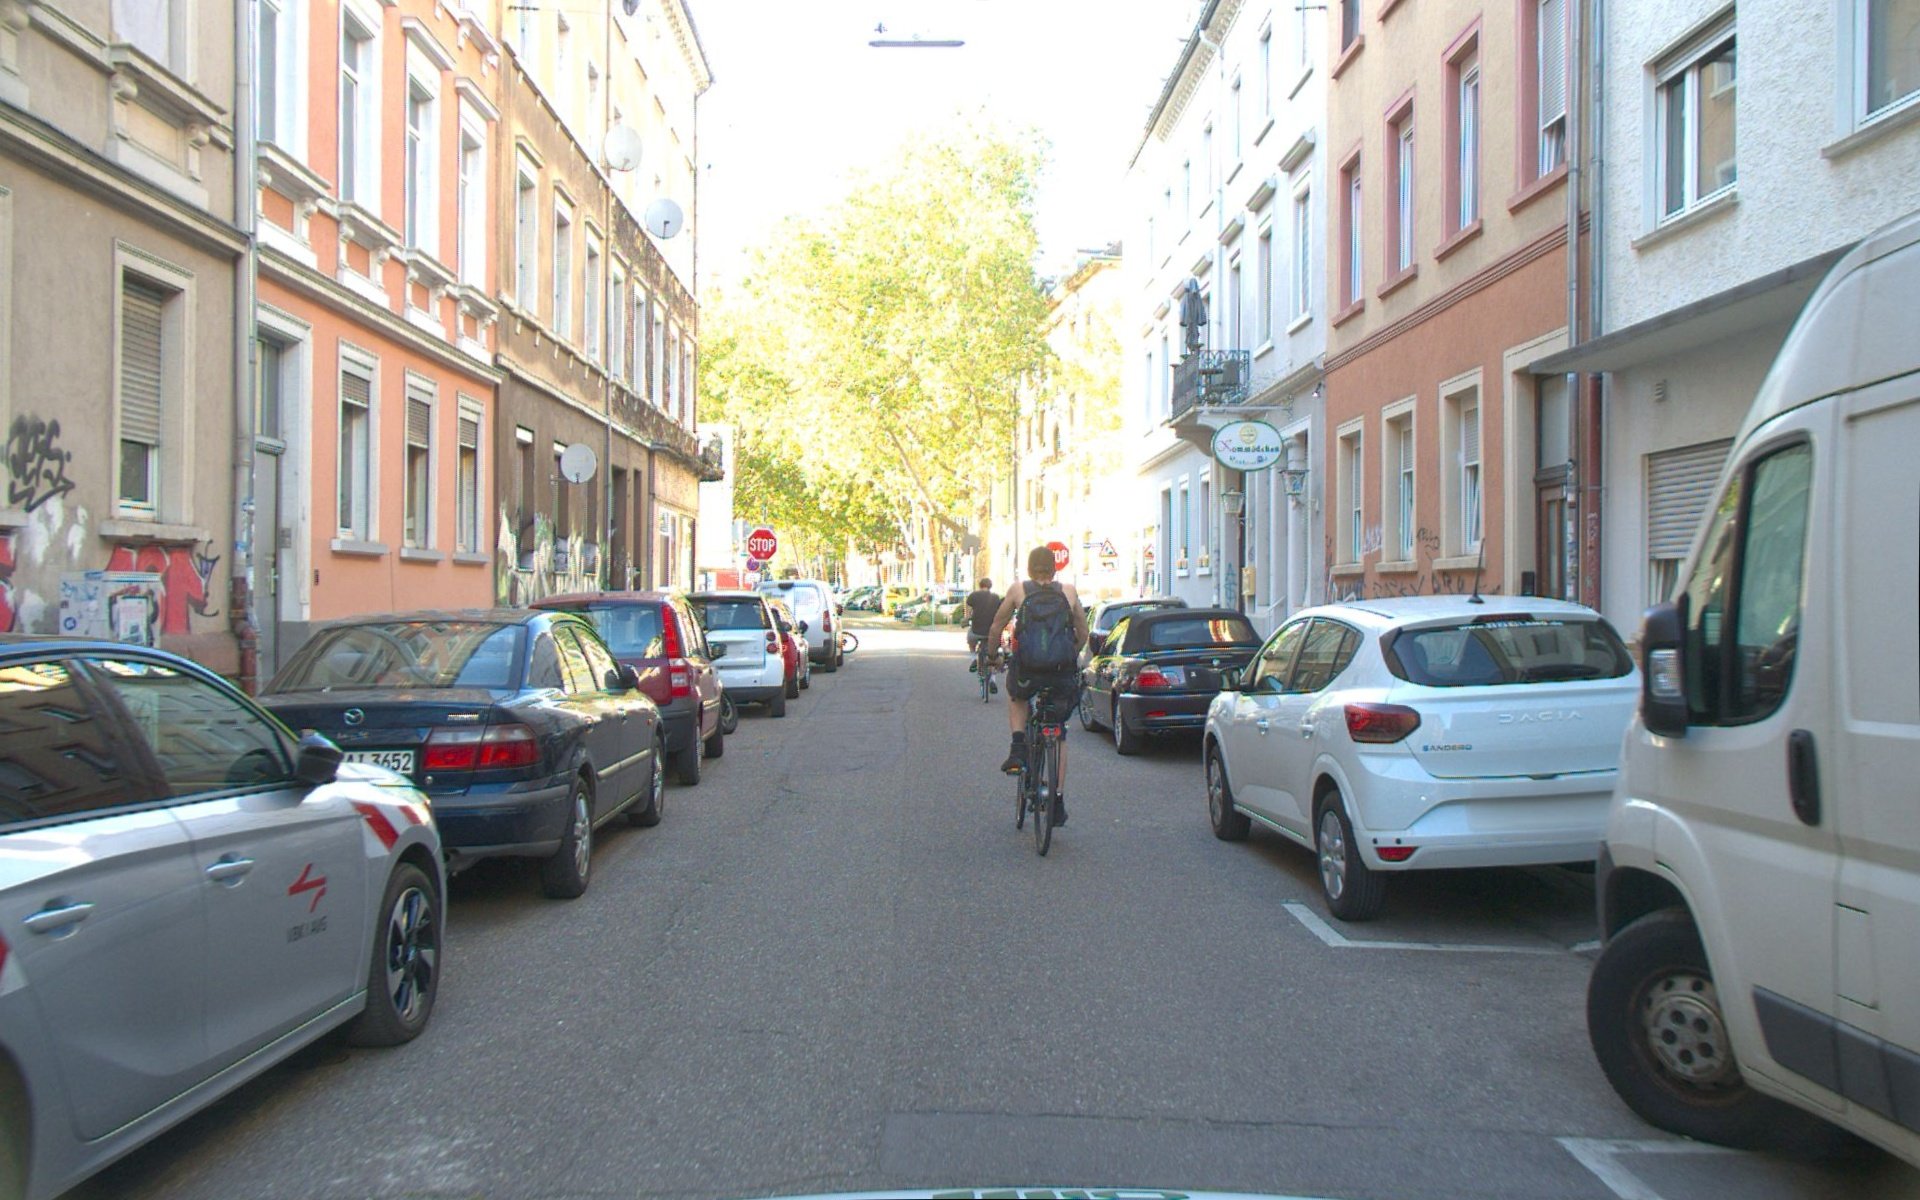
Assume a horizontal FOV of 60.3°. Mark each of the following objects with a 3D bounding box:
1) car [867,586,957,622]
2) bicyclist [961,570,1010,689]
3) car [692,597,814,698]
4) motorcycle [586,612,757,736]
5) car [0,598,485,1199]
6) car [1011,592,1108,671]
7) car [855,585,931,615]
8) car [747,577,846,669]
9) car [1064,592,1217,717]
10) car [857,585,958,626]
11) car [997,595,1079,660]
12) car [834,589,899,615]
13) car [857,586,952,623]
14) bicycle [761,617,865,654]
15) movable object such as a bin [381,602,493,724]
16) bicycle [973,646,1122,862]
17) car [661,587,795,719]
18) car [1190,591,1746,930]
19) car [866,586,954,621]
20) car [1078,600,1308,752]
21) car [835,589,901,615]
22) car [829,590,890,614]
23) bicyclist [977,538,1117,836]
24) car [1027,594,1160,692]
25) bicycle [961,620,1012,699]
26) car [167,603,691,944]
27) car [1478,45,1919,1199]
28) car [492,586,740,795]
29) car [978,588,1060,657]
[{"bbox_3d":[-2.435,0.198,82.854,4.383,1.725,1.864,0,0,-6],"label":"car"},{"bbox_3d":[0.362,0.414,23.866,0.656,1.687,0.877,0,0,-2],"label":"bicyclist"},{"bbox_3d":[-3.112,0.675,25.460,1.521,1.424,3.666,0,0,-2],"label":"car"},{"bbox_3d":[-3.138,0.778,17.942,1.766,1.278,0.707,-1,0,-16],"label":"motorcycle"},{"bbox_3d":[-2.642,0.739,4.311,1.639,1.455,3.888,0,0,1],"label":"car"},{"bbox_3d":[2.044,0.613,34.792,1.619,1.557,3.572,0,0,-3],"label":"car"},{"bbox_3d":[-3.976,-0.025,98.196,4.383,1.725,1.864,0,0,-6],"label":"car"},{"bbox_3d":[-3.291,0.427,33.894,1.752,1.767,3.874,0,0,-2],"label":"car"},{"bbox_3d":[2.335,0.663,22.233,1.560,1.518,3.875,0,0,-1],"label":"car"},{"bbox_3d":[-2.341,0.232,73.308,4.383,1.790,1.864,0,0,-6],"label":"car"},{"bbox_3d":[1.858,0.639,40.362,1.653,1.497,3.572,0,0,-3],"label":"car"},{"bbox_3d":[-6.458,0.115,113.686,4.383,1.725,1.864,0,0,-6],"label":"car"},{"bbox_3d":[-2.635,0.203,78.331,4.383,1.725,1.864,0,0,-6],"label":"car"},{"bbox_3d":[-3.824,0.917,43.155,2.662,0.907,0.618,0,0,-4],"label":"bicycle"},{"bbox_3d":[-5.327,0.635,16.880,0.817,1.146,0.716,-5,0,1],"label":"movable object such as a bin"},{"bbox_3d":[0.496,0.890,10.268,0.725,1.120,2.041,2,0,-2],"label":"bicycle"},{"bbox_3d":[-2.975,0.625,21.699,1.514,1.578,3.462,0,0,-5],"label":"car"},{"bbox_3d":[2.575,0.704,9.441,1.697,1.496,4.018,0,0,-4],"label":"car"},{"bbox_3d":[-2.581,0.185,85.109,4.383,1.725,1.864,0,0,-6],"label":"car"},{"bbox_3d":[2.295,0.701,17.251,1.624,1.361,3.997,0,0,-3],"label":"car"},{"bbox_3d":[-6.205,0.140,111.404,4.383,1.725,1.864,0,0,-6],"label":"car"},{"bbox_3d":[-7.357,0.128,120.963,4.383,1.725,1.864,0,0,-6],"label":"car"},{"bbox_3d":[0.511,0.502,10.155,0.725,1.708,1.116,2,0,-2],"label":"bicyclist"},{"bbox_3d":[2.157,0.656,27.686,1.676,1.496,3.997,0,0,-3],"label":"car"},{"bbox_3d":[0.364,0.836,23.955,0.650,1.055,1.958,0,0,-1],"label":"bicycle"},{"bbox_3d":[-2.663,0.759,9.371,1.671,1.438,4.301,0,0,-2],"label":"car"},{"bbox_3d":[2.995,0.194,2.906,2.160,2.595,6.034,0,0,-1],"label":"car"},{"bbox_3d":[-2.851,0.679,14.326,1.573,1.556,3.377,-1,0,-3],"label":"car"},{"bbox_3d":[1.571,0.581,45.584,1.855,1.800,3.997,0,0,-4],"label":"car"}]
